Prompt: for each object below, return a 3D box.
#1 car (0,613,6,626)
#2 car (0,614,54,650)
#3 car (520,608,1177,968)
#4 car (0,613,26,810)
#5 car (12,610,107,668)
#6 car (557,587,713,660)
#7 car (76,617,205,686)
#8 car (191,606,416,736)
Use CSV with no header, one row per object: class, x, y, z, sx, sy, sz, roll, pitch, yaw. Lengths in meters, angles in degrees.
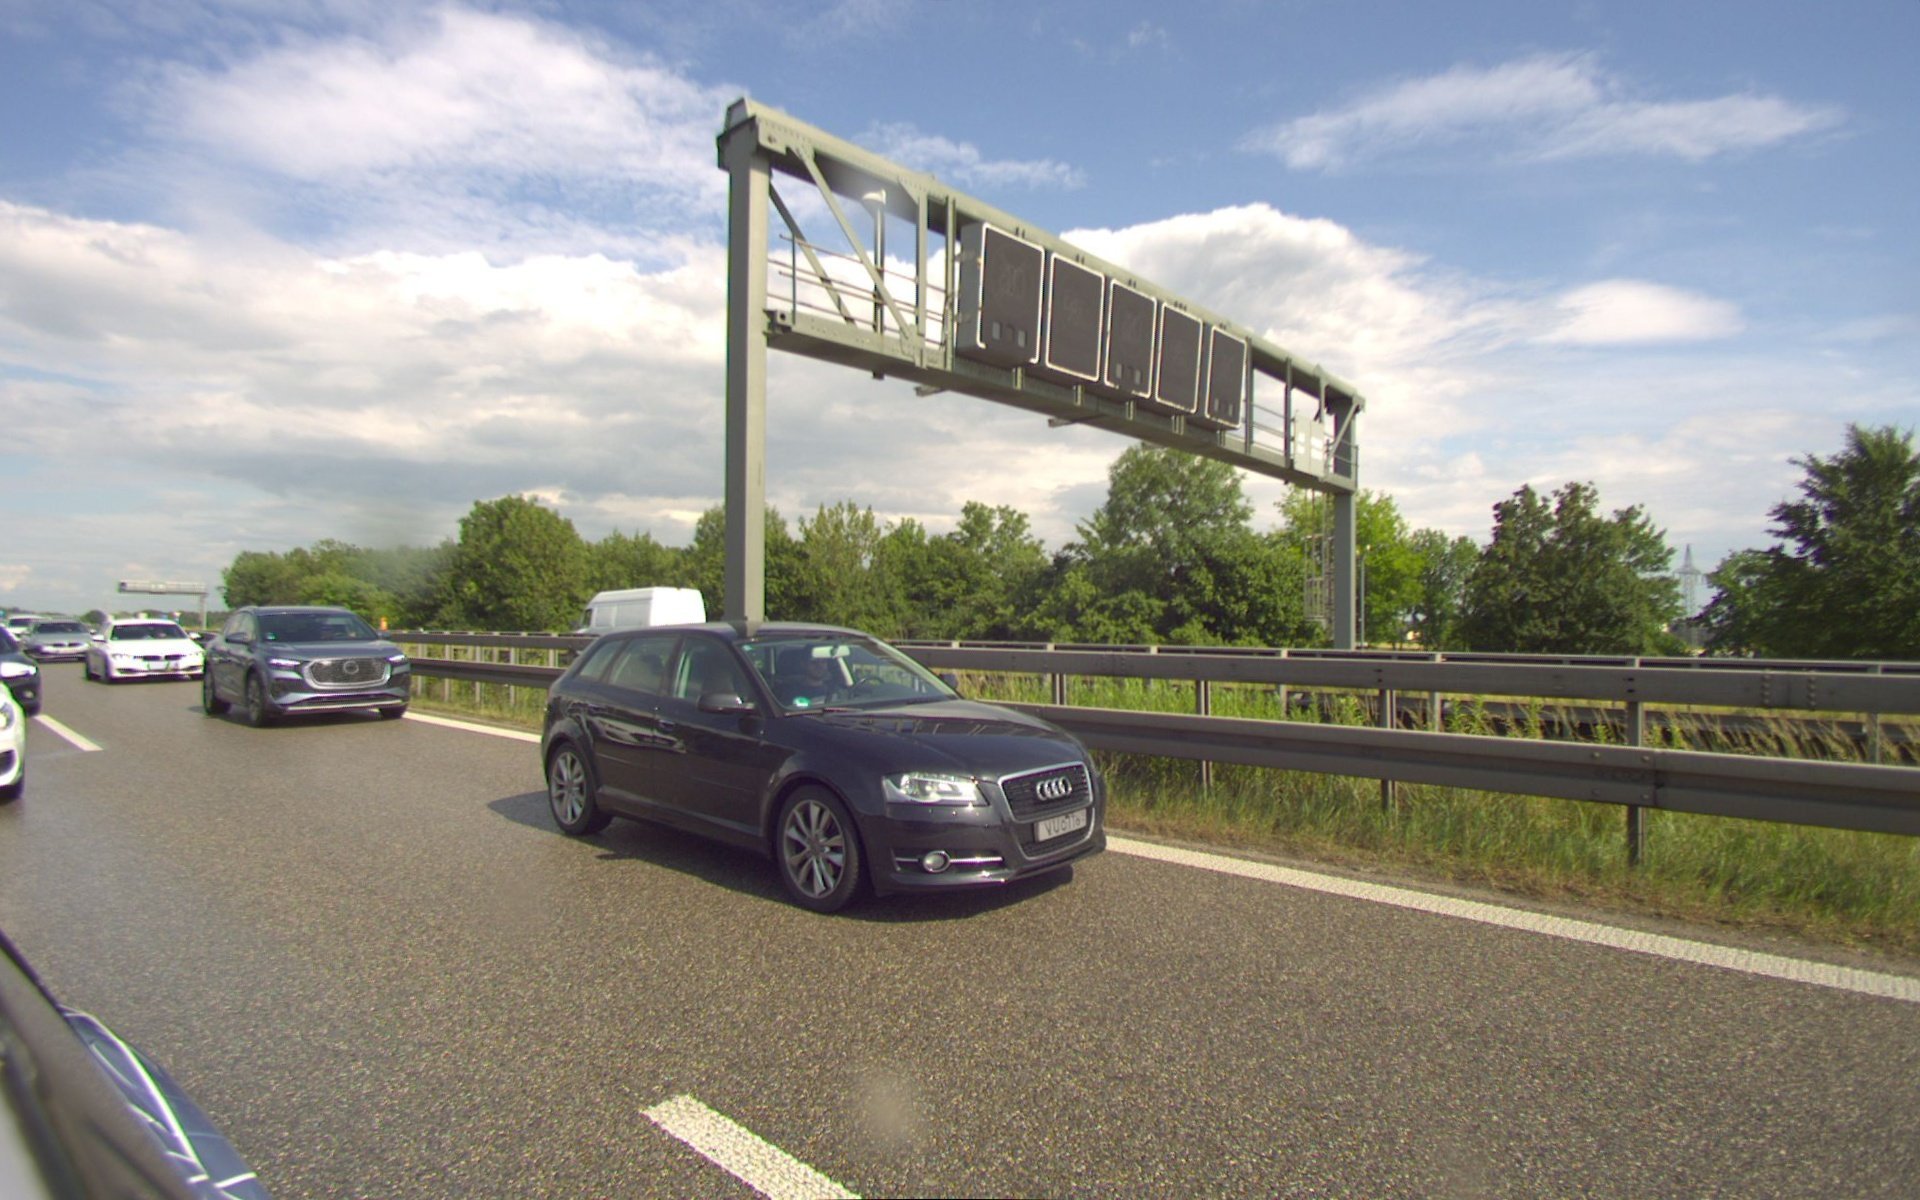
car,-137.953,2.758,144.778,4.461,1.792,1.972,-1,-1,43
car,-43.072,1.445,46.345,3.999,1.490,1.972,0,1,42
car,-0.939,0.791,6.192,4.139,1.436,1.747,-1,0,44
car,-9.353,0.866,8.500,4.547,1.466,1.861,-1,-1,43
car,-30.478,1.271,34.226,3.999,1.761,1.972,0,1,42
car,-9.924,0.699,30.616,5.557,2.029,1.972,-1,-2,42
car,-19.020,1.130,23.439,3.999,1.389,1.748,0,0,42
car,-9.670,0.913,14.767,4.229,1.618,1.849,-1,-1,44
